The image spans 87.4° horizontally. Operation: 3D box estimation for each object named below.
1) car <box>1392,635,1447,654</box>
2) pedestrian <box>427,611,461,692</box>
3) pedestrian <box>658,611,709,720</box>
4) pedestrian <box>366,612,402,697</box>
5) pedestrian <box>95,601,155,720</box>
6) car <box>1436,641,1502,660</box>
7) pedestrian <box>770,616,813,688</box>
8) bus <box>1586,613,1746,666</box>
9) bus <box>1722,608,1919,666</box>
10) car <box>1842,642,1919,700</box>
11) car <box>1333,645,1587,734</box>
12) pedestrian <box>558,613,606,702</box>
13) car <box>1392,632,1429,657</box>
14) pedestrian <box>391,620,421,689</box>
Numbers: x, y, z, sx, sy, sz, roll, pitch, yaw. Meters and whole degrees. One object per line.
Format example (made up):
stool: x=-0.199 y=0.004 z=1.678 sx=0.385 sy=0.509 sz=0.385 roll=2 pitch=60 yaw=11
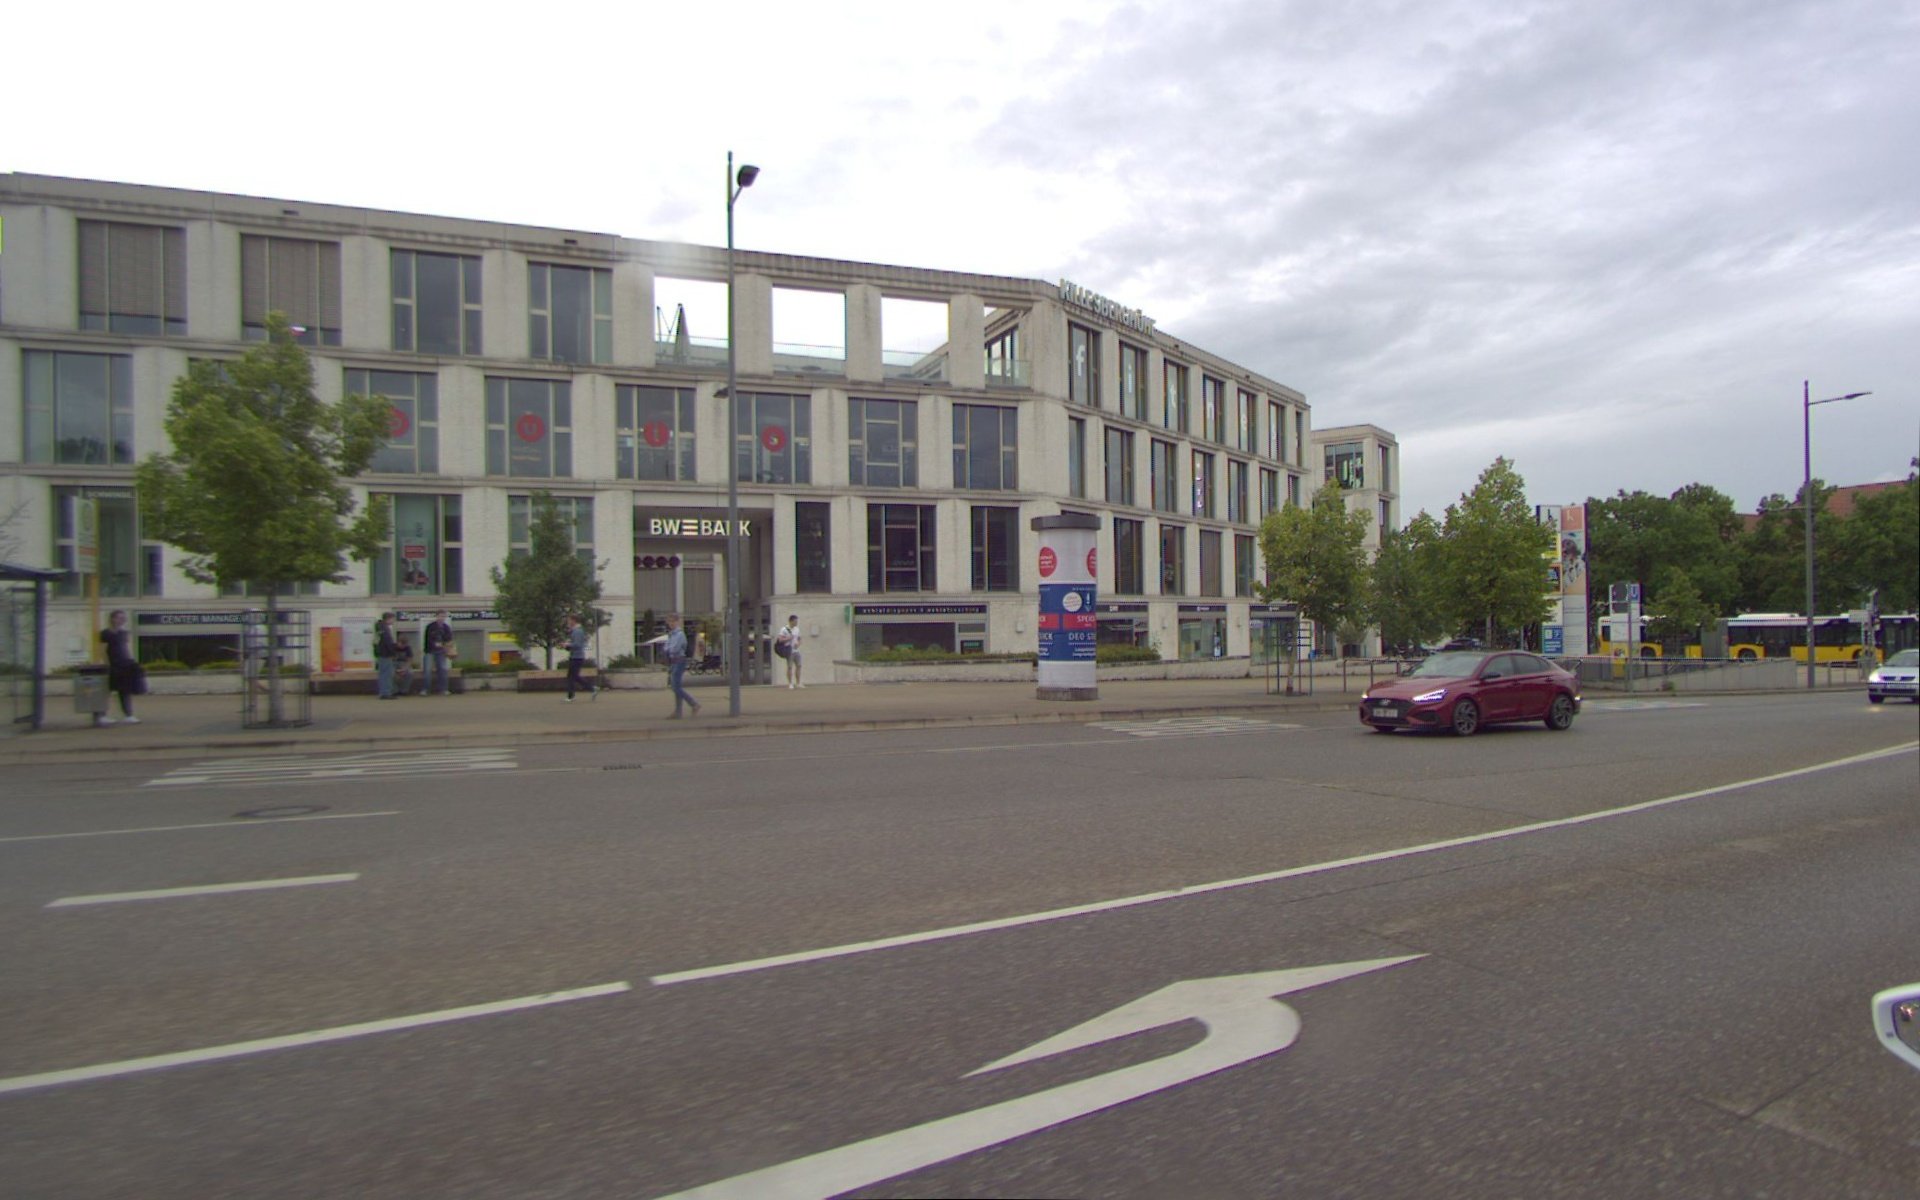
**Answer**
car: x=37.507 y=3.588 z=82.125 sx=1.647 sy=1.444 sz=3.952 roll=1 pitch=-1 yaw=-27
pedestrian: x=-11.291 y=1.121 z=21.998 sx=0.613 sy=1.748 sz=0.425 roll=2 pitch=-2 yaw=-26
pedestrian: x=-4.894 y=1.142 z=17.766 sx=0.736 sy=1.866 sz=0.751 roll=1 pitch=-2 yaw=-24
pedestrian: x=-11.993 y=1.124 z=20.935 sx=0.558 sy=1.748 sz=0.523 roll=1 pitch=-2 yaw=-24
pedestrian: x=-13.616 y=0.976 z=16.390 sx=0.599 sy=1.880 sz=0.578 roll=2 pitch=-2 yaw=-29
car: x=41.183 y=4.066 z=81.346 sx=1.975 sy=1.444 sz=4.429 roll=1 pitch=-1 yaw=-27
pedestrian: x=-4.116 y=1.268 z=24.584 sx=0.909 sy=1.712 sz=0.492 roll=2 pitch=-2 yaw=-43
bus: x=47.323 y=2.631 z=67.682 sx=2.859 sy=3.351 sz=8.522 roll=1 pitch=-2 yaw=-25
bus: x=51.265 y=2.180 z=59.447 sx=2.857 sy=3.144 sz=9.701 roll=1 pitch=-2 yaw=-24
car: x=25.235 y=1.851 z=26.391 sx=3.829 sy=1.434 sz=1.757 roll=1 pitch=-4 yaw=-27
car: x=9.044 y=1.561 z=18.122 sx=4.408 sy=1.434 sz=1.826 roll=1 pitch=-4 yaw=-27
pedestrian: x=-7.763 y=1.168 z=20.632 sx=0.845 sy=1.785 sz=0.597 roll=1 pitch=-2 yaw=-25
car: x=33.083 y=3.241 z=73.660 sx=1.750 sy=1.754 sz=3.987 roll=-1 pitch=-2 yaw=35
pedestrian: x=-11.957 y=1.169 z=21.674 sx=0.503 sy=1.470 sz=0.425 roll=2 pitch=-2 yaw=-26
